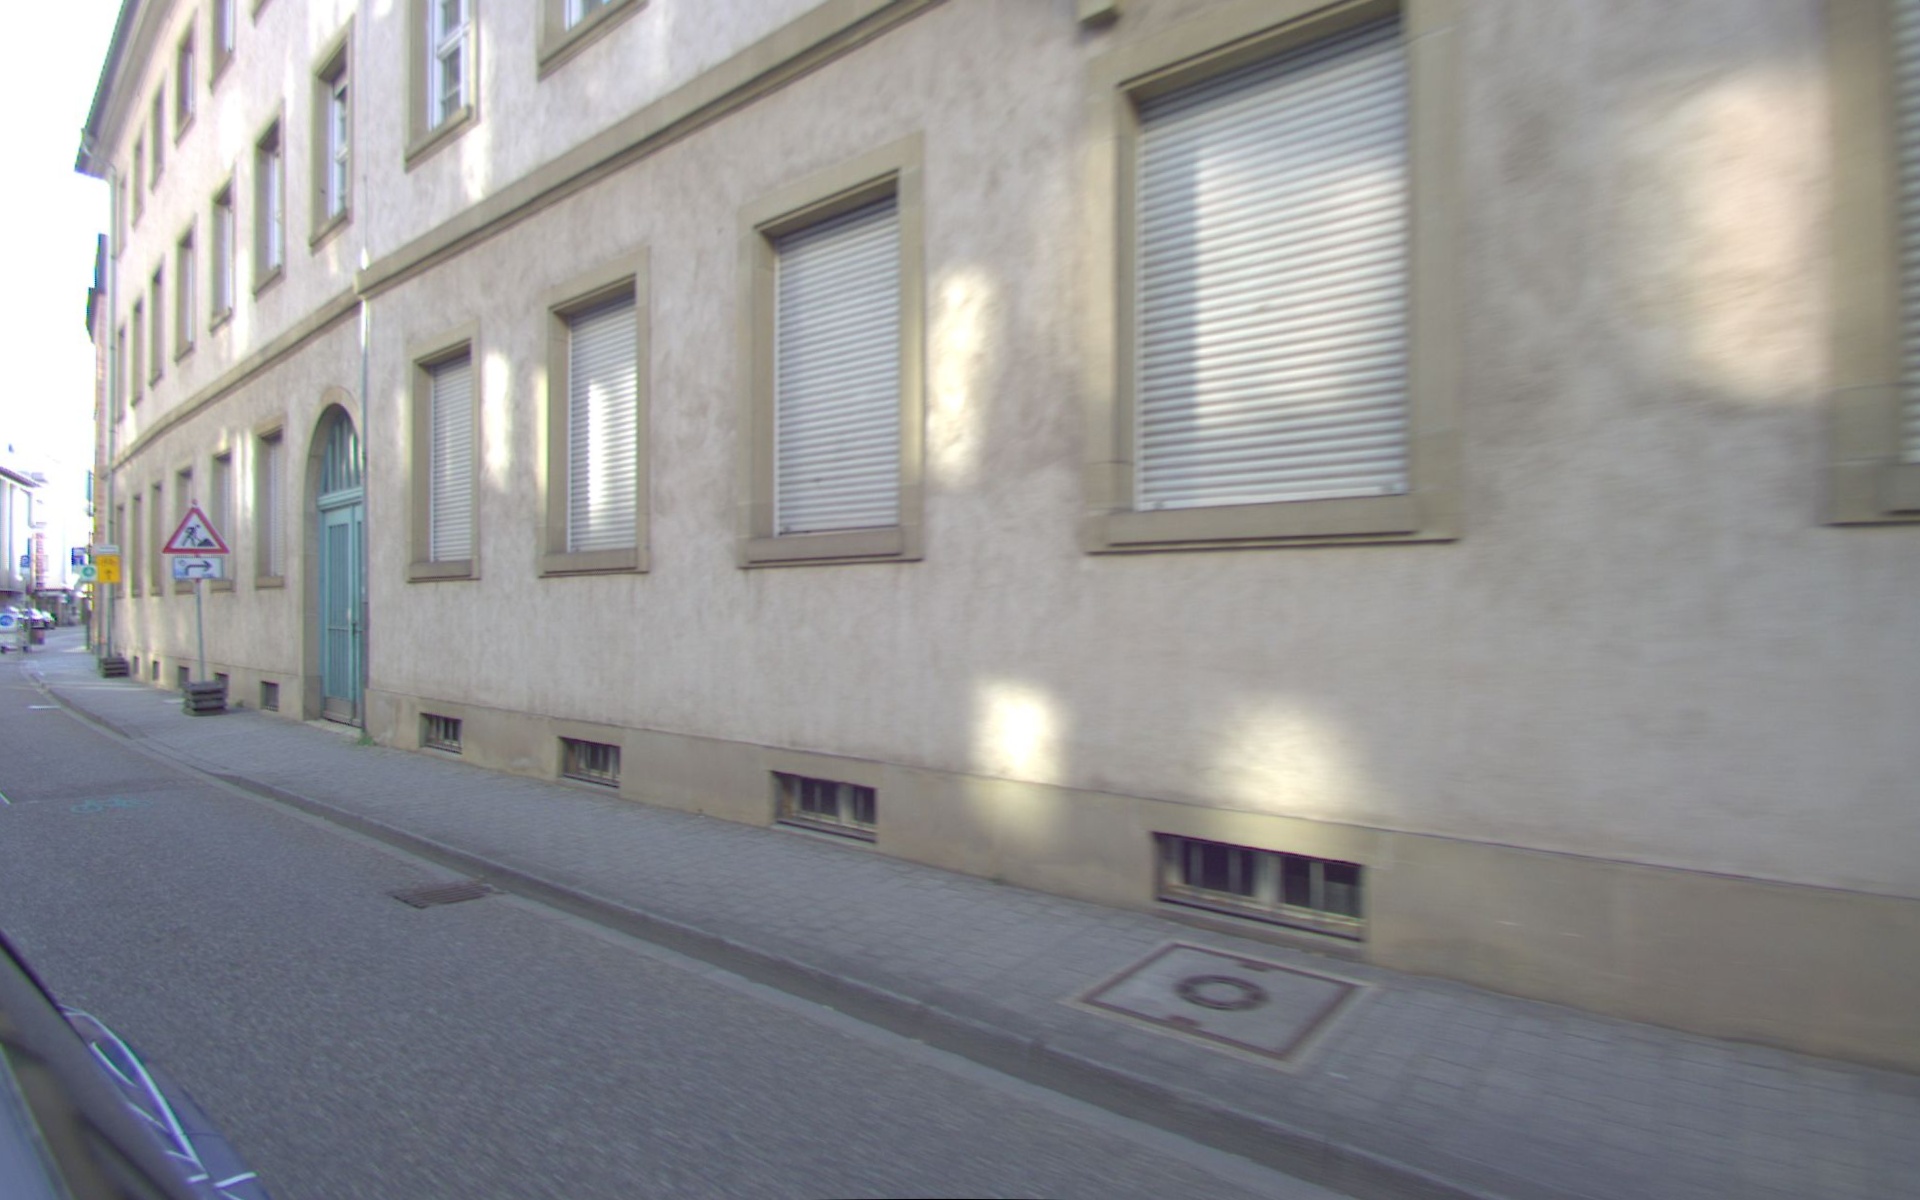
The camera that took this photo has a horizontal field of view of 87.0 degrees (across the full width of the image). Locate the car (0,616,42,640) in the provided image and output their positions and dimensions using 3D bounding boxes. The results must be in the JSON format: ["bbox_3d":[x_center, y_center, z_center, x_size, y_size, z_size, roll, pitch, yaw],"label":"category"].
[{"bbox_3d":[-69.960,2.040,75.319,1.934,1.659,4.207,-1,0,-35],"label":"car"}]

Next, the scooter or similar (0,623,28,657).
[{"bbox_3d":[-35.251,1.469,37.393,0.461,1.234,1.301,1,-3,-5],"label":"scooter or similar"}]

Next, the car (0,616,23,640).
[{"bbox_3d":[-65.657,1.908,69.098,1.934,1.547,4.207,-1,0,-35],"label":"car"}]
